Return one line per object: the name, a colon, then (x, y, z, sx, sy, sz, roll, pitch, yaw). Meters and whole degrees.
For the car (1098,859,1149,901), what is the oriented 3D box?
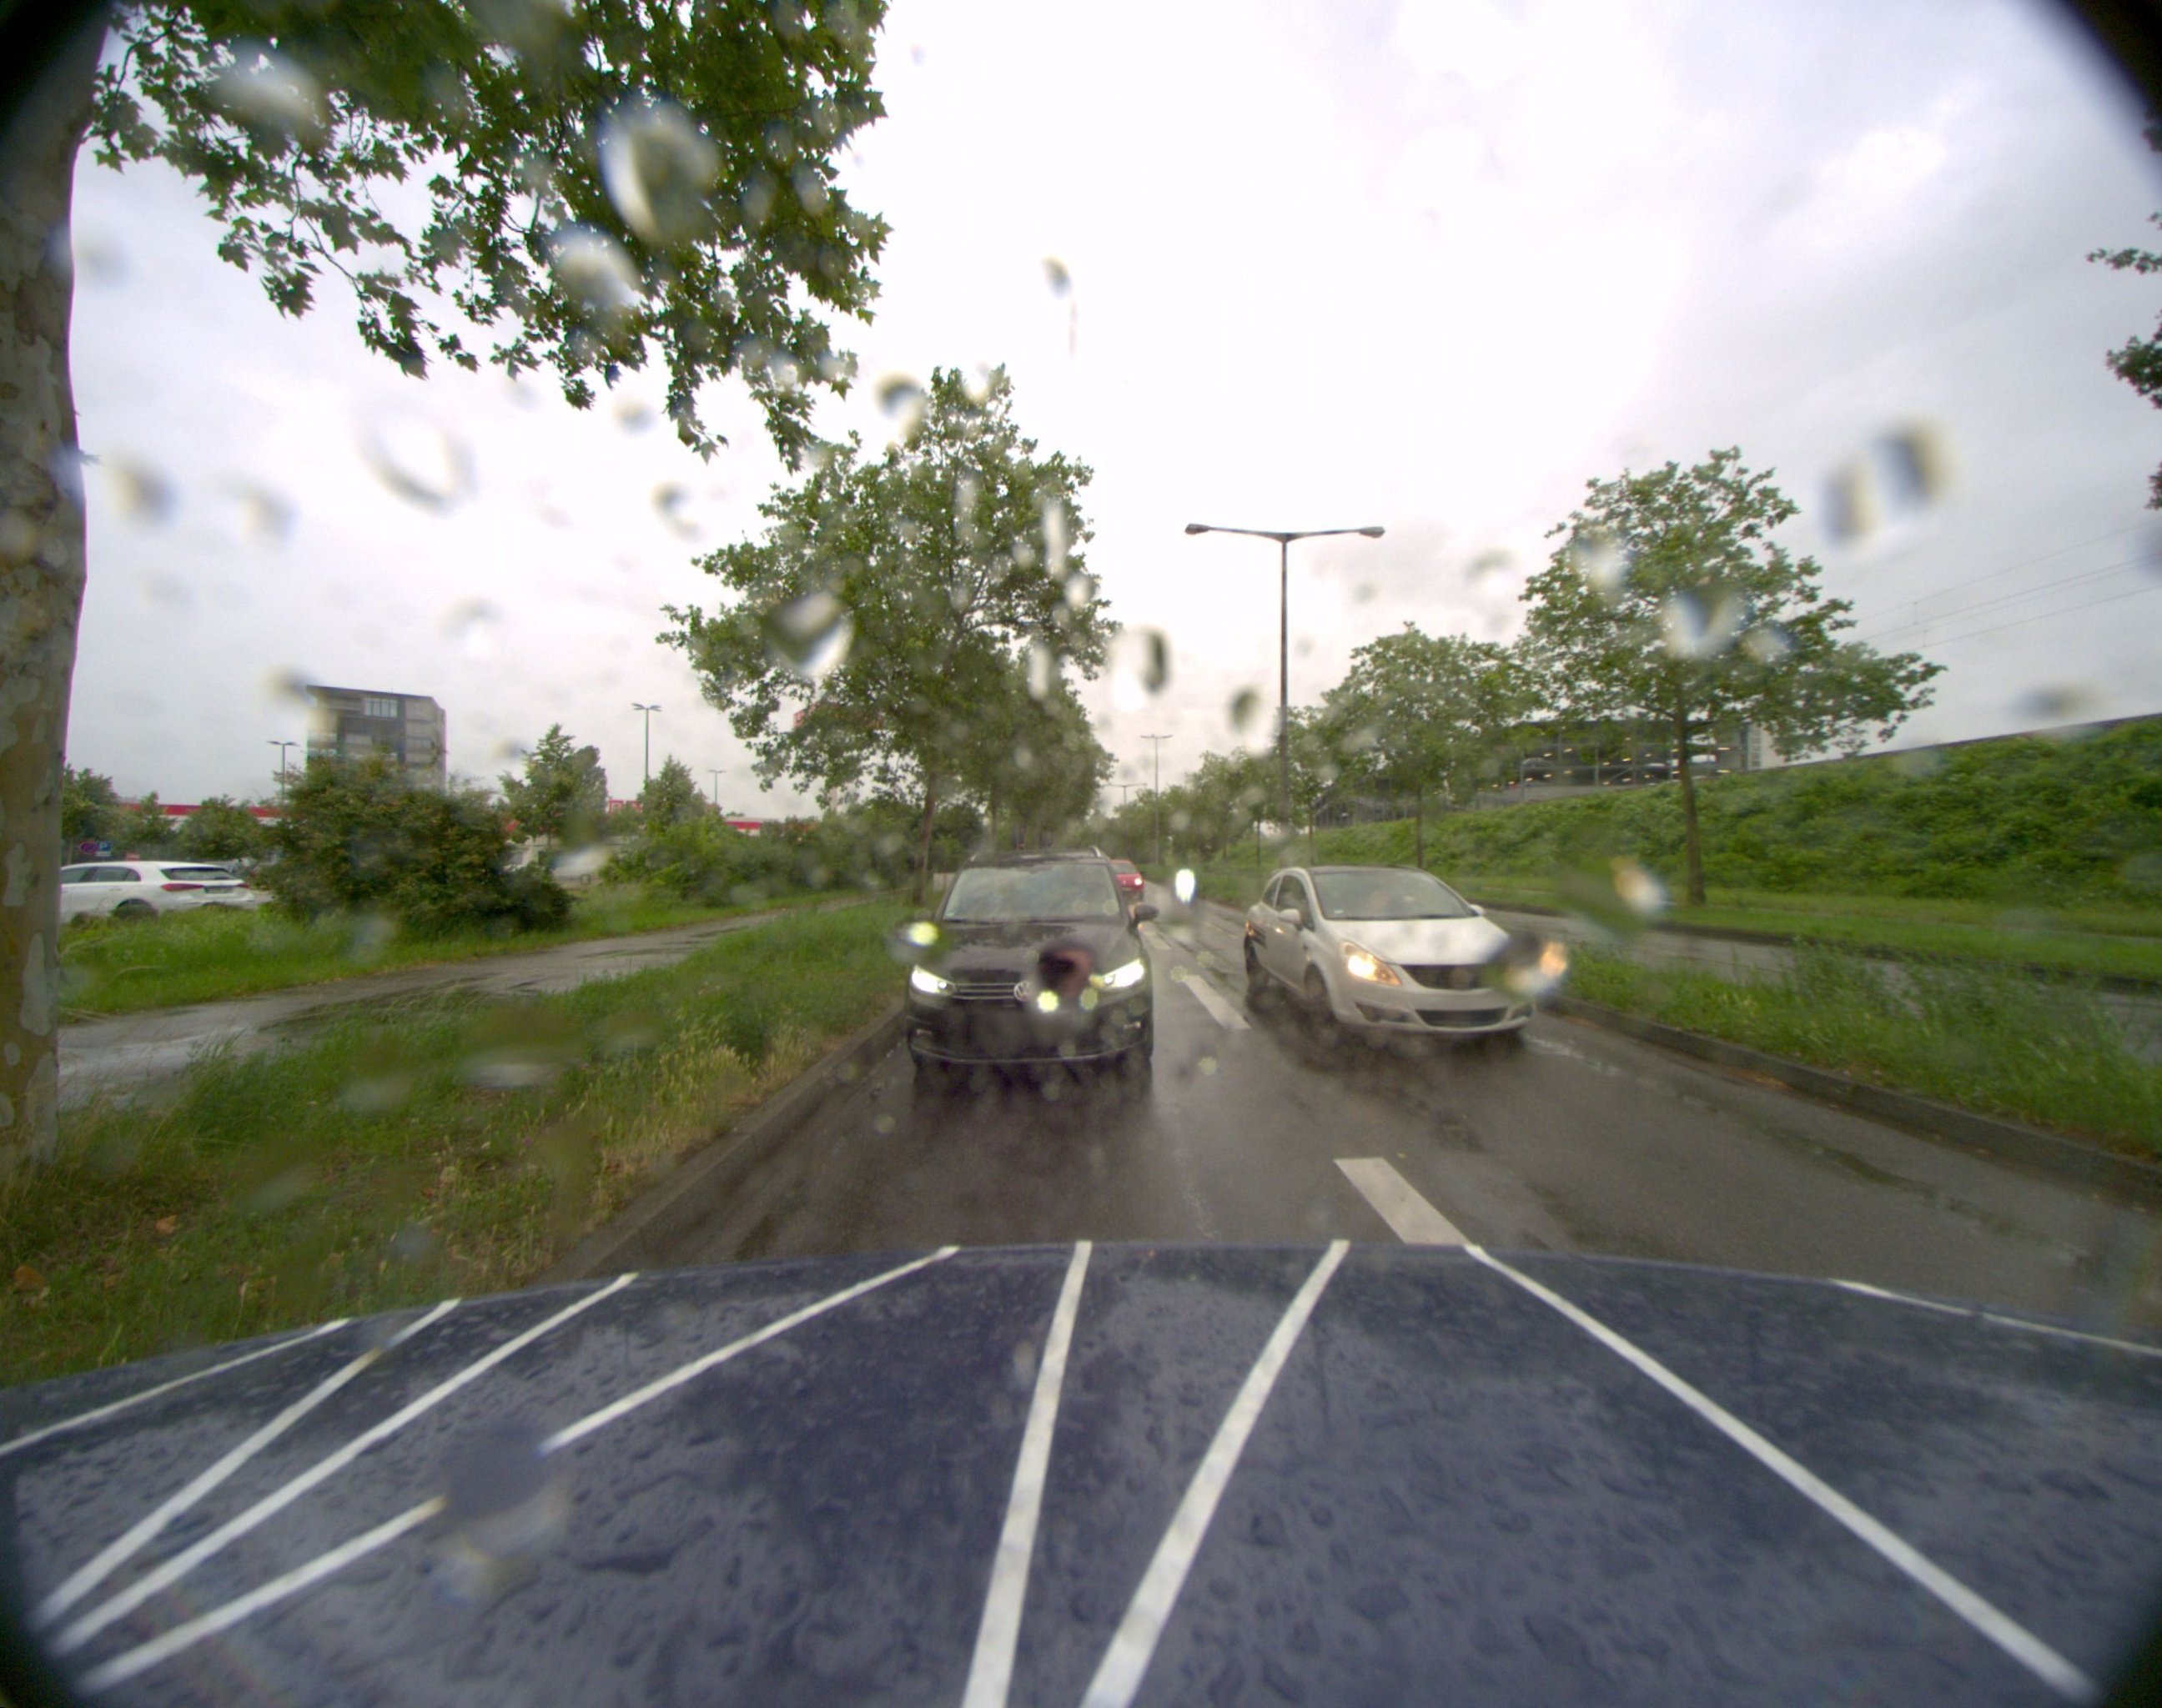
car: (1.587, 0.974, 29.833, 1.724, 1.456, 4.092, -2, 0, 0)

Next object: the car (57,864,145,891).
car: (-61.959, 1.430, 48.130, 1.933, 1.543, 4.263, 0, 0, -30)

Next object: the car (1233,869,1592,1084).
car: (2.737, 0.902, 7.349, 1.683, 1.368, 4.011, -2, 0, 0)

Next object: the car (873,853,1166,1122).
car: (-0.428, 0.832, 7.065, 1.771, 1.596, 4.626, -2, 0, -1)

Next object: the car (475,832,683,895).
car: (-19.654, 0.355, 30.079, 6.425, 2.349, 2.390, 0, 1, -8)

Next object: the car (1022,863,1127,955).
car: (-0.105, 0.958, 14.889, 1.724, 1.456, 4.092, -2, 0, 0)

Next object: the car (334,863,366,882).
car: (-67.834, 1.690, 70.535, 2.007, 1.667, 4.261, 0, 0, -42)

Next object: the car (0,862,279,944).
car: (-19.783, 0.962, 15.659, 4.272, 1.543, 1.929, 0, 0, -4)

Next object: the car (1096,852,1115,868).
car: (2.643, 0.607, 83.083, 1.831, 1.602, 4.147, -2, 0, 0)

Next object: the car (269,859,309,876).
car: (-80.563, 1.322, 77.339, 2.006, 1.667, 4.262, 0, 0, -35)

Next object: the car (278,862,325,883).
car: (-67.268, 1.590, 65.607, 2.006, 1.667, 4.262, 0, 0, -34)

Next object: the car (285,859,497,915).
car: (-19.935, 0.919, 22.129, 4.272, 1.543, 1.929, 0, 0, -4)

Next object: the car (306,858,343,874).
car: (-78.452, 1.223, 78.870, 2.006, 1.667, 4.262, 0, 0, -35)

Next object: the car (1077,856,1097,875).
car: (0.565, 1.046, 72.156, 1.831, 1.737, 4.147, -2, 0, 0)

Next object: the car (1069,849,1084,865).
car: (-0.592, 0.347, 104.526, 1.998, 2.002, 5.131, -2, 1, 0)
